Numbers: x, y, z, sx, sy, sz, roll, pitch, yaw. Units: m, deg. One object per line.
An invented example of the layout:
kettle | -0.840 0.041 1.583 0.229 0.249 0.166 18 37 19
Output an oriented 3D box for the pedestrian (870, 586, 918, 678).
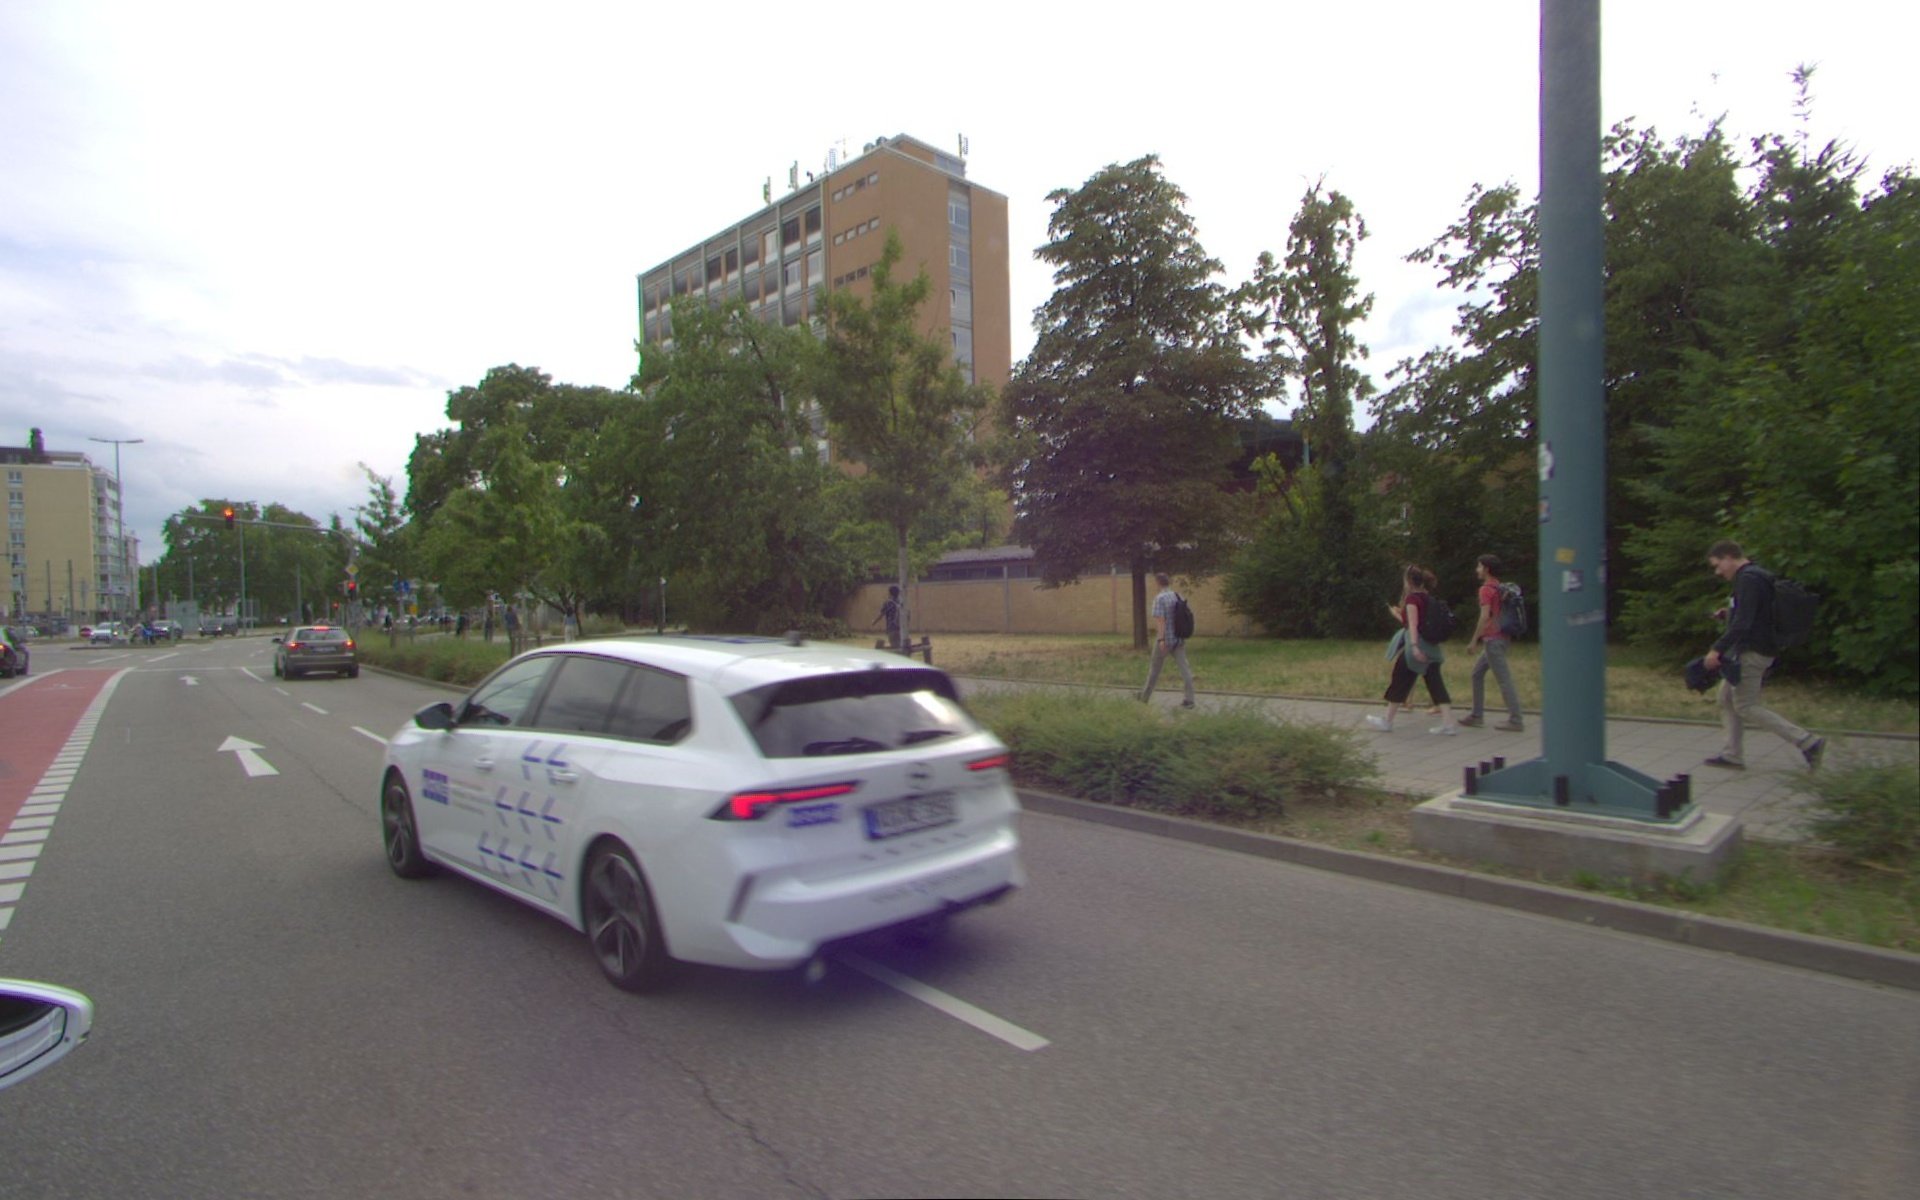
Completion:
pedestrian | -1.258 0.593 19.072 0.582 1.705 0.742 -2 1 -39

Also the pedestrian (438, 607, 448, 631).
pedestrian | -43.365 1.580 83.932 0.609 2.040 0.592 -1 1 -41

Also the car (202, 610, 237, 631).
car | -75.139 2.022 101.660 1.967 2.040 3.986 -1 0 -24

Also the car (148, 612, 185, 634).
car | -70.510 2.018 89.053 1.785 1.875 3.982 -1 0 -27

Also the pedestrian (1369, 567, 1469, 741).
pedestrian | 4.616 0.518 10.085 0.551 1.677 0.747 -2 1 -39

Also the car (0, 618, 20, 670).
car | -27.976 1.232 28.514 1.643 1.415 3.824 -1 0 -42

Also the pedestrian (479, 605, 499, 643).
pedestrian | -21.874 1.087 46.492 0.792 1.736 0.761 -1 1 -27

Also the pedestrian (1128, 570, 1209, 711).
pedestrian | 2.694 0.507 12.985 0.614 1.759 0.808 -2 1 -39

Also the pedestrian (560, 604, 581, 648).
pedestrian | -13.555 0.905 34.818 0.648 1.490 0.560 -1 1 -23

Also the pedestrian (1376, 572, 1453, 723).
pedestrian | 5.153 0.519 11.362 0.464 1.655 0.647 -2 1 -39

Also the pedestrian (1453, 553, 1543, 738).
pedestrian | 5.413 0.439 10.077 0.480 1.787 0.658 -2 1 -39

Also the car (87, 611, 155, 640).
car | -66.407 2.005 79.390 2.549 2.137 5.582 -1 0 -23

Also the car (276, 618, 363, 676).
car | -18.191 1.266 28.357 1.709 1.477 3.706 -1 0 -38

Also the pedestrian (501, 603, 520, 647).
pedestrian | -17.865 0.985 39.813 0.638 1.736 0.559 -1 1 -25

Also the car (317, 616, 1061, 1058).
car | -1.859 0.839 5.610 4.728 1.458 1.731 -1 0 42

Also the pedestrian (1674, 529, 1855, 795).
pedestrian | 6.029 0.430 7.519 0.687 1.845 0.946 -2 1 -39
